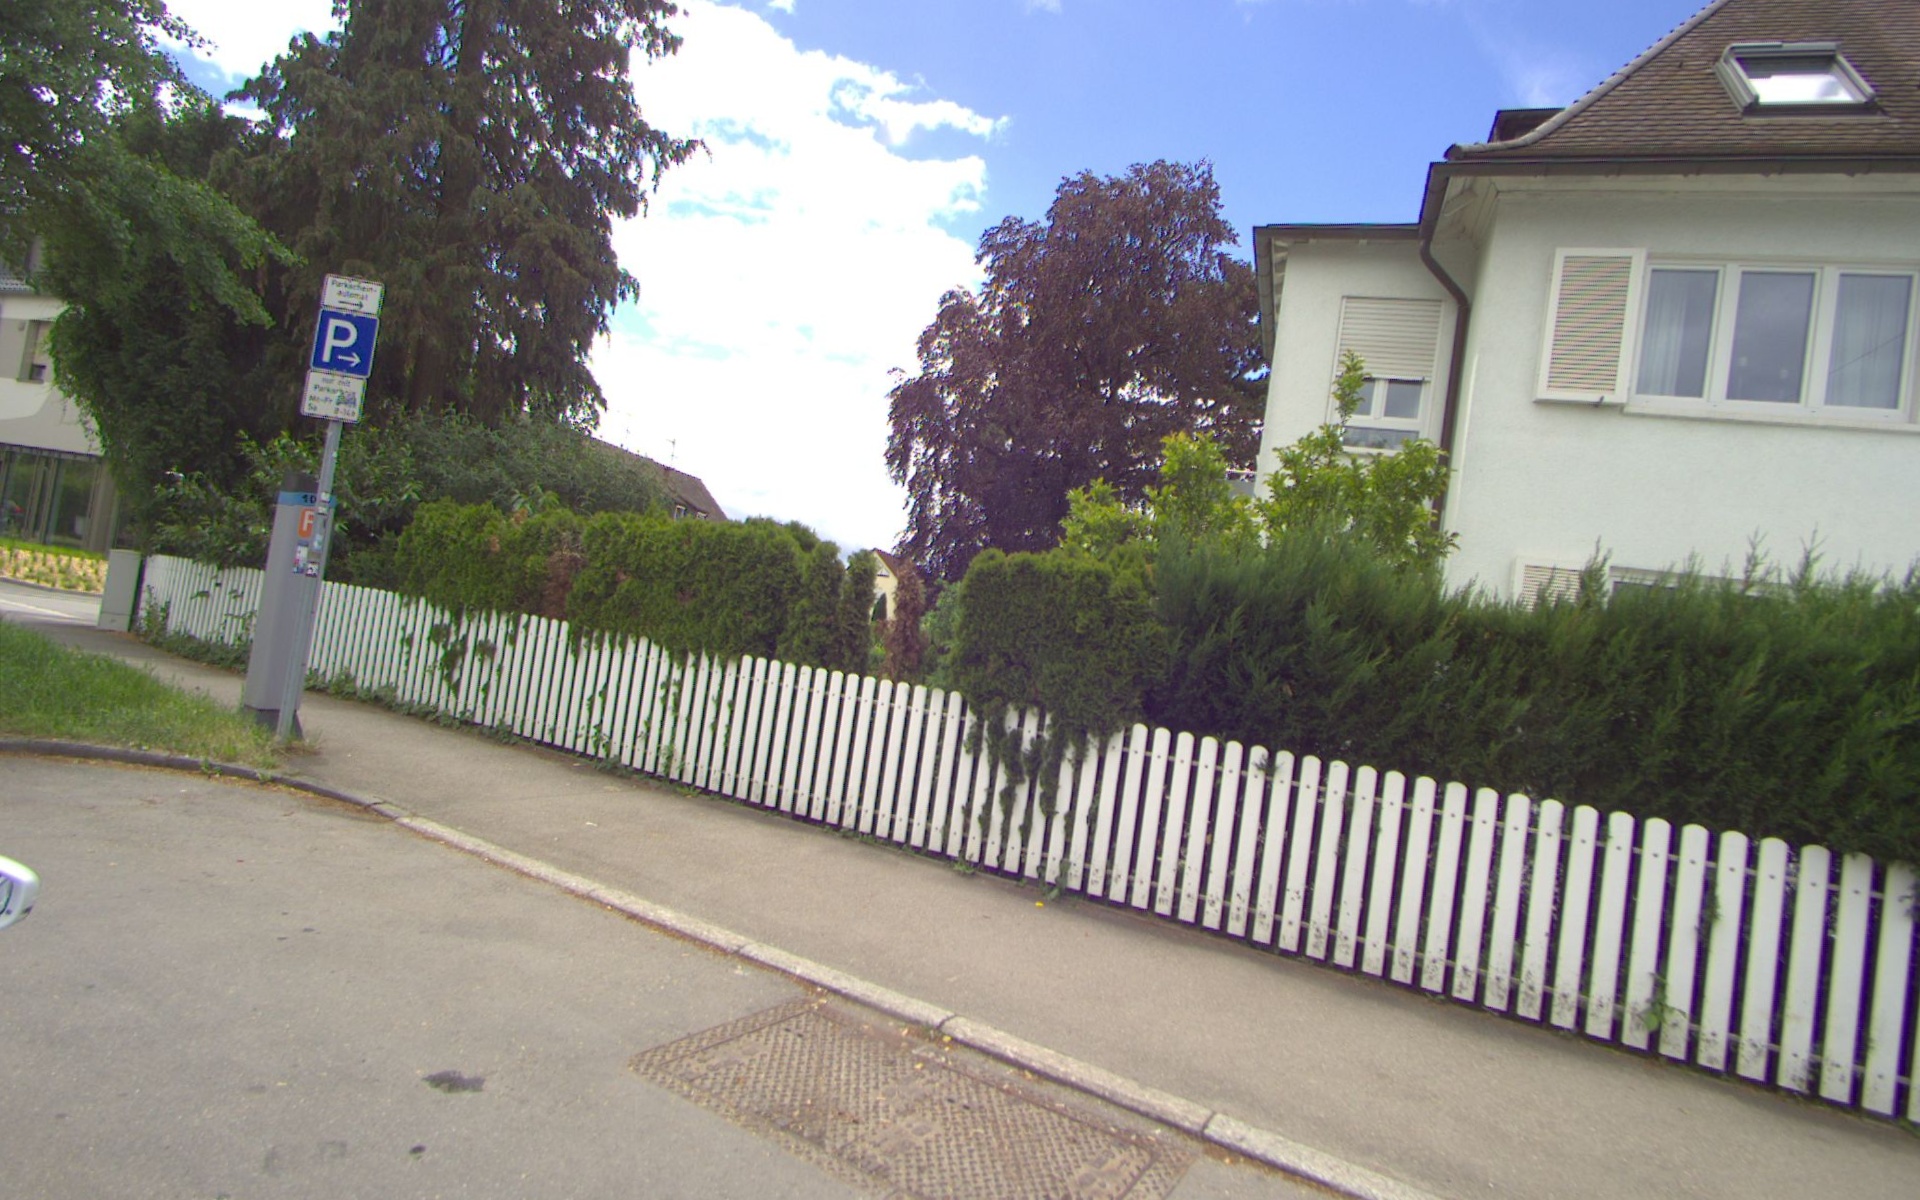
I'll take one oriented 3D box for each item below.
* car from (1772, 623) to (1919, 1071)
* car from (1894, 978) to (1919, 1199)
[{"bbox_3d":[8.476,1.855,5.859,5.091,2.708,2.511,7,-5,22],"label":"car"},{"bbox_3d":[3.312,1.164,0.411,3.951,1.600,1.763,7,-2,30],"label":"car"}]
